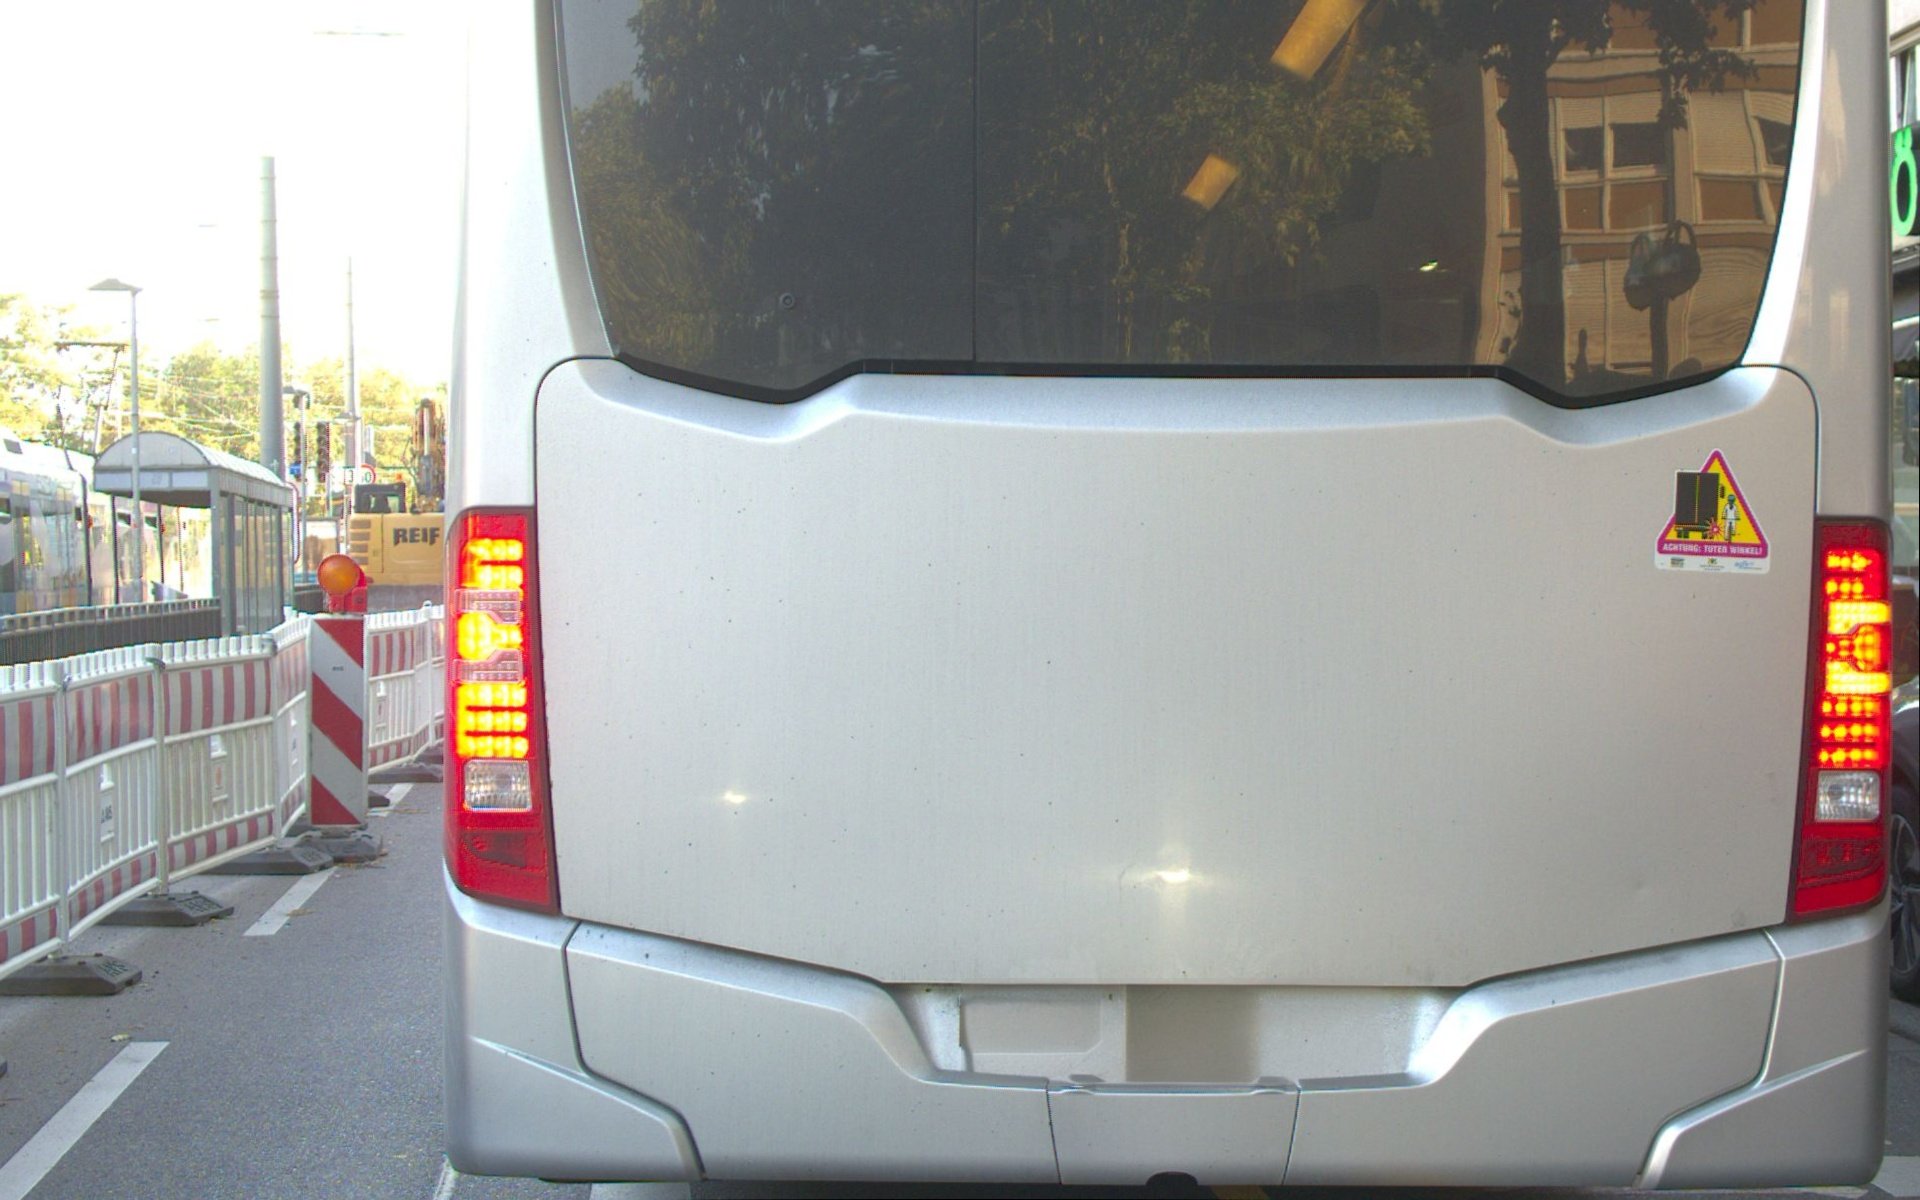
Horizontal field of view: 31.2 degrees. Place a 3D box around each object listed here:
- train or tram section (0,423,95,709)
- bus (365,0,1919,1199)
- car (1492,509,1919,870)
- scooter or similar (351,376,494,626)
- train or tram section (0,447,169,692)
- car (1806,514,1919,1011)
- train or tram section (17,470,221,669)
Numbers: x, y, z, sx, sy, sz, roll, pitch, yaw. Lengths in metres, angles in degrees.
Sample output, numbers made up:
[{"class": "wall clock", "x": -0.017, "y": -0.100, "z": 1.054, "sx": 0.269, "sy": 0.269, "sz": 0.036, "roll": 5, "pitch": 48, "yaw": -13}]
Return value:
[{"class": "train or tram section", "x": -13.348, "y": -0.453, "z": 44.023, "sx": 2.686, "sy": 3.521, "sz": 11.774, "roll": 1, "pitch": 1, "yaw": -6}, {"class": "bus", "x": 0.323, "y": -0.173, "z": 9.558, "sx": 2.611, "sy": 3.115, "sz": 7.993, "roll": 1, "pitch": 1, "yaw": -1}, {"class": "car", "x": 4.322, "y": 0.356, "z": 17.944, "sx": 1.993, "sy": 1.576, "sz": 4.369, "roll": -3, "pitch": 1, "yaw": -5}, {"class": "scooter or similar", "x": -10.011, "y": -1.812, "z": 64.481, "sx": 2.468, "sy": 4.455, "sz": 5.974, "roll": -1, "pitch": 1, "yaw": -8}, {"class": "train or tram section", "x": -14.724, "y": -0.515, "z": 55.604, "sx": 2.686, "sy": 3.546, "sz": 11.585, "roll": 1, "pitch": 1, "yaw": -8}, {"class": "car", "x": 4.144, "y": 0.504, "z": 9.791, "sx": 1.993, "sy": 1.576, "sz": 4.369, "roll": -3, "pitch": 1, "yaw": -5}, {"class": "train or tram section", "x": -16.230, "y": -0.597, "z": 67.068, "sx": 2.686, "sy": 3.521, "sz": 11.585, "roll": 1, "pitch": 1, "yaw": -8}]
